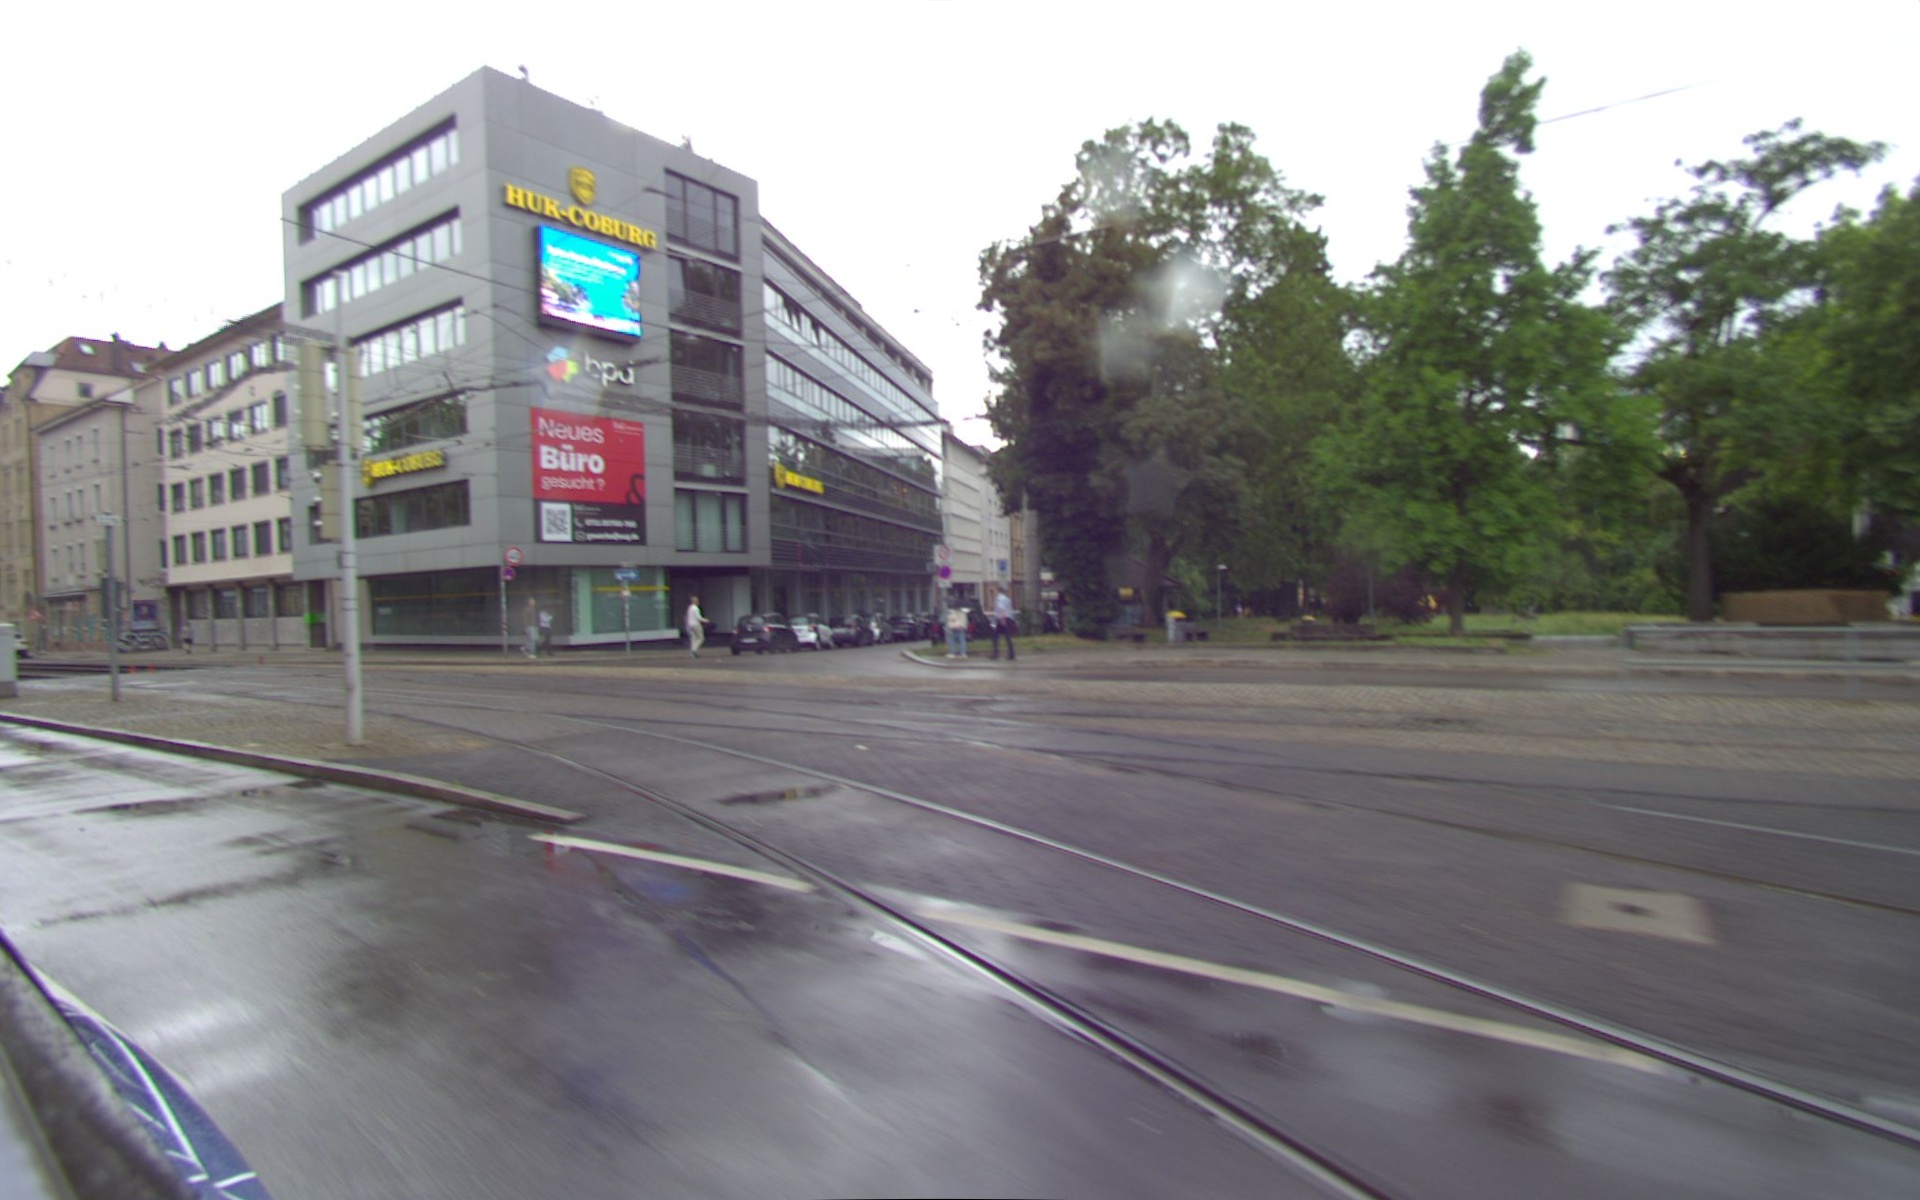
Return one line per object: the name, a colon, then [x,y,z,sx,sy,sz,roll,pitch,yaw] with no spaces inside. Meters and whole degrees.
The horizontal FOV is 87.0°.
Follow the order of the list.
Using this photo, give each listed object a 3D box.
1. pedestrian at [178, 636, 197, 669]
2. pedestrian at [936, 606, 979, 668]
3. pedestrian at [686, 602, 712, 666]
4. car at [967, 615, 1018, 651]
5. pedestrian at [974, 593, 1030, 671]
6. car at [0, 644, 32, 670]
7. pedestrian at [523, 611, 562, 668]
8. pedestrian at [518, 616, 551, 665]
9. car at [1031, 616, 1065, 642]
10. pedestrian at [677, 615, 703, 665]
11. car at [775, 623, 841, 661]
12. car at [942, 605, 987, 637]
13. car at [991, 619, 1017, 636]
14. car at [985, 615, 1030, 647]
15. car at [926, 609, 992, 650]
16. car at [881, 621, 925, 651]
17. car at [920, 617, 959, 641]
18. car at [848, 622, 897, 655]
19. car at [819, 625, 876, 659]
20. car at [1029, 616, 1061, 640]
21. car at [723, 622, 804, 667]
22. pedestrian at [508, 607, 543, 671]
pedestrian: [-40.474,2.746,53.029,0.797,1.624,0.541,-2,2,38]
pedestrian: [-0.085,1.004,27.758,0.987,1.606,0.915,-3,1,-8]
pedestrian: [-8.520,1.099,33.050,0.608,2.028,0.663,-3,1,-2]
car: [1.435,1.385,43.329,1.684,1.459,3.529,-1,-1,10]
pedestrian: [1.055,0.790,25.686,0.988,1.876,0.915,-4,1,-40]
car: [-60.182,3.568,63.435,4.739,1.548,1.976,-2,-4,36]
pedestrian: [-13.960,1.314,33.837,0.969,1.829,0.657,-2,1,28]
pedestrian: [-14.856,1.400,35.347,0.582,1.606,0.964,-2,1,10]
car: [5.217,1.713,59.582,1.684,1.459,3.529,-1,-1,10]
pedestrian: [-8.959,1.330,33.574,0.579,1.606,0.637,-3,1,-37]
car: [-6.235,1.721,41.954,1.683,1.465,3.731,-1,-1,9]
car: [0.394,1.518,73.531,2.308,2.237,5.050,-1,-1,11]
car: [3.837,2.371,88.512,1.685,1.401,3.526,-1,-1,12]
car: [2.305,1.458,48.419,1.684,1.459,3.529,-1,-1,10]
car: [0.019,1.086,37.845,1.686,1.459,3.524,-1,-1,13]
car: [-3.097,1.959,55.288,1.683,1.567,3.530,-1,-1,9]
car: [-1.309,1.845,65.095,1.686,1.459,3.524,-1,-1,13]
car: [-4.397,1.905,51.186,1.683,1.567,3.530,-1,-1,9]
car: [-5.074,1.872,45.988,1.683,1.465,3.731,-1,-1,9]
car: [5.445,1.803,64.568,1.684,1.459,3.529,-1,-1,10]
car: [-7.266,1.613,37.827,1.685,1.562,3.728,-1,-1,11]
pedestrian: [-14.202,1.255,33.097,0.809,2.028,0.655,-2,1,36]
